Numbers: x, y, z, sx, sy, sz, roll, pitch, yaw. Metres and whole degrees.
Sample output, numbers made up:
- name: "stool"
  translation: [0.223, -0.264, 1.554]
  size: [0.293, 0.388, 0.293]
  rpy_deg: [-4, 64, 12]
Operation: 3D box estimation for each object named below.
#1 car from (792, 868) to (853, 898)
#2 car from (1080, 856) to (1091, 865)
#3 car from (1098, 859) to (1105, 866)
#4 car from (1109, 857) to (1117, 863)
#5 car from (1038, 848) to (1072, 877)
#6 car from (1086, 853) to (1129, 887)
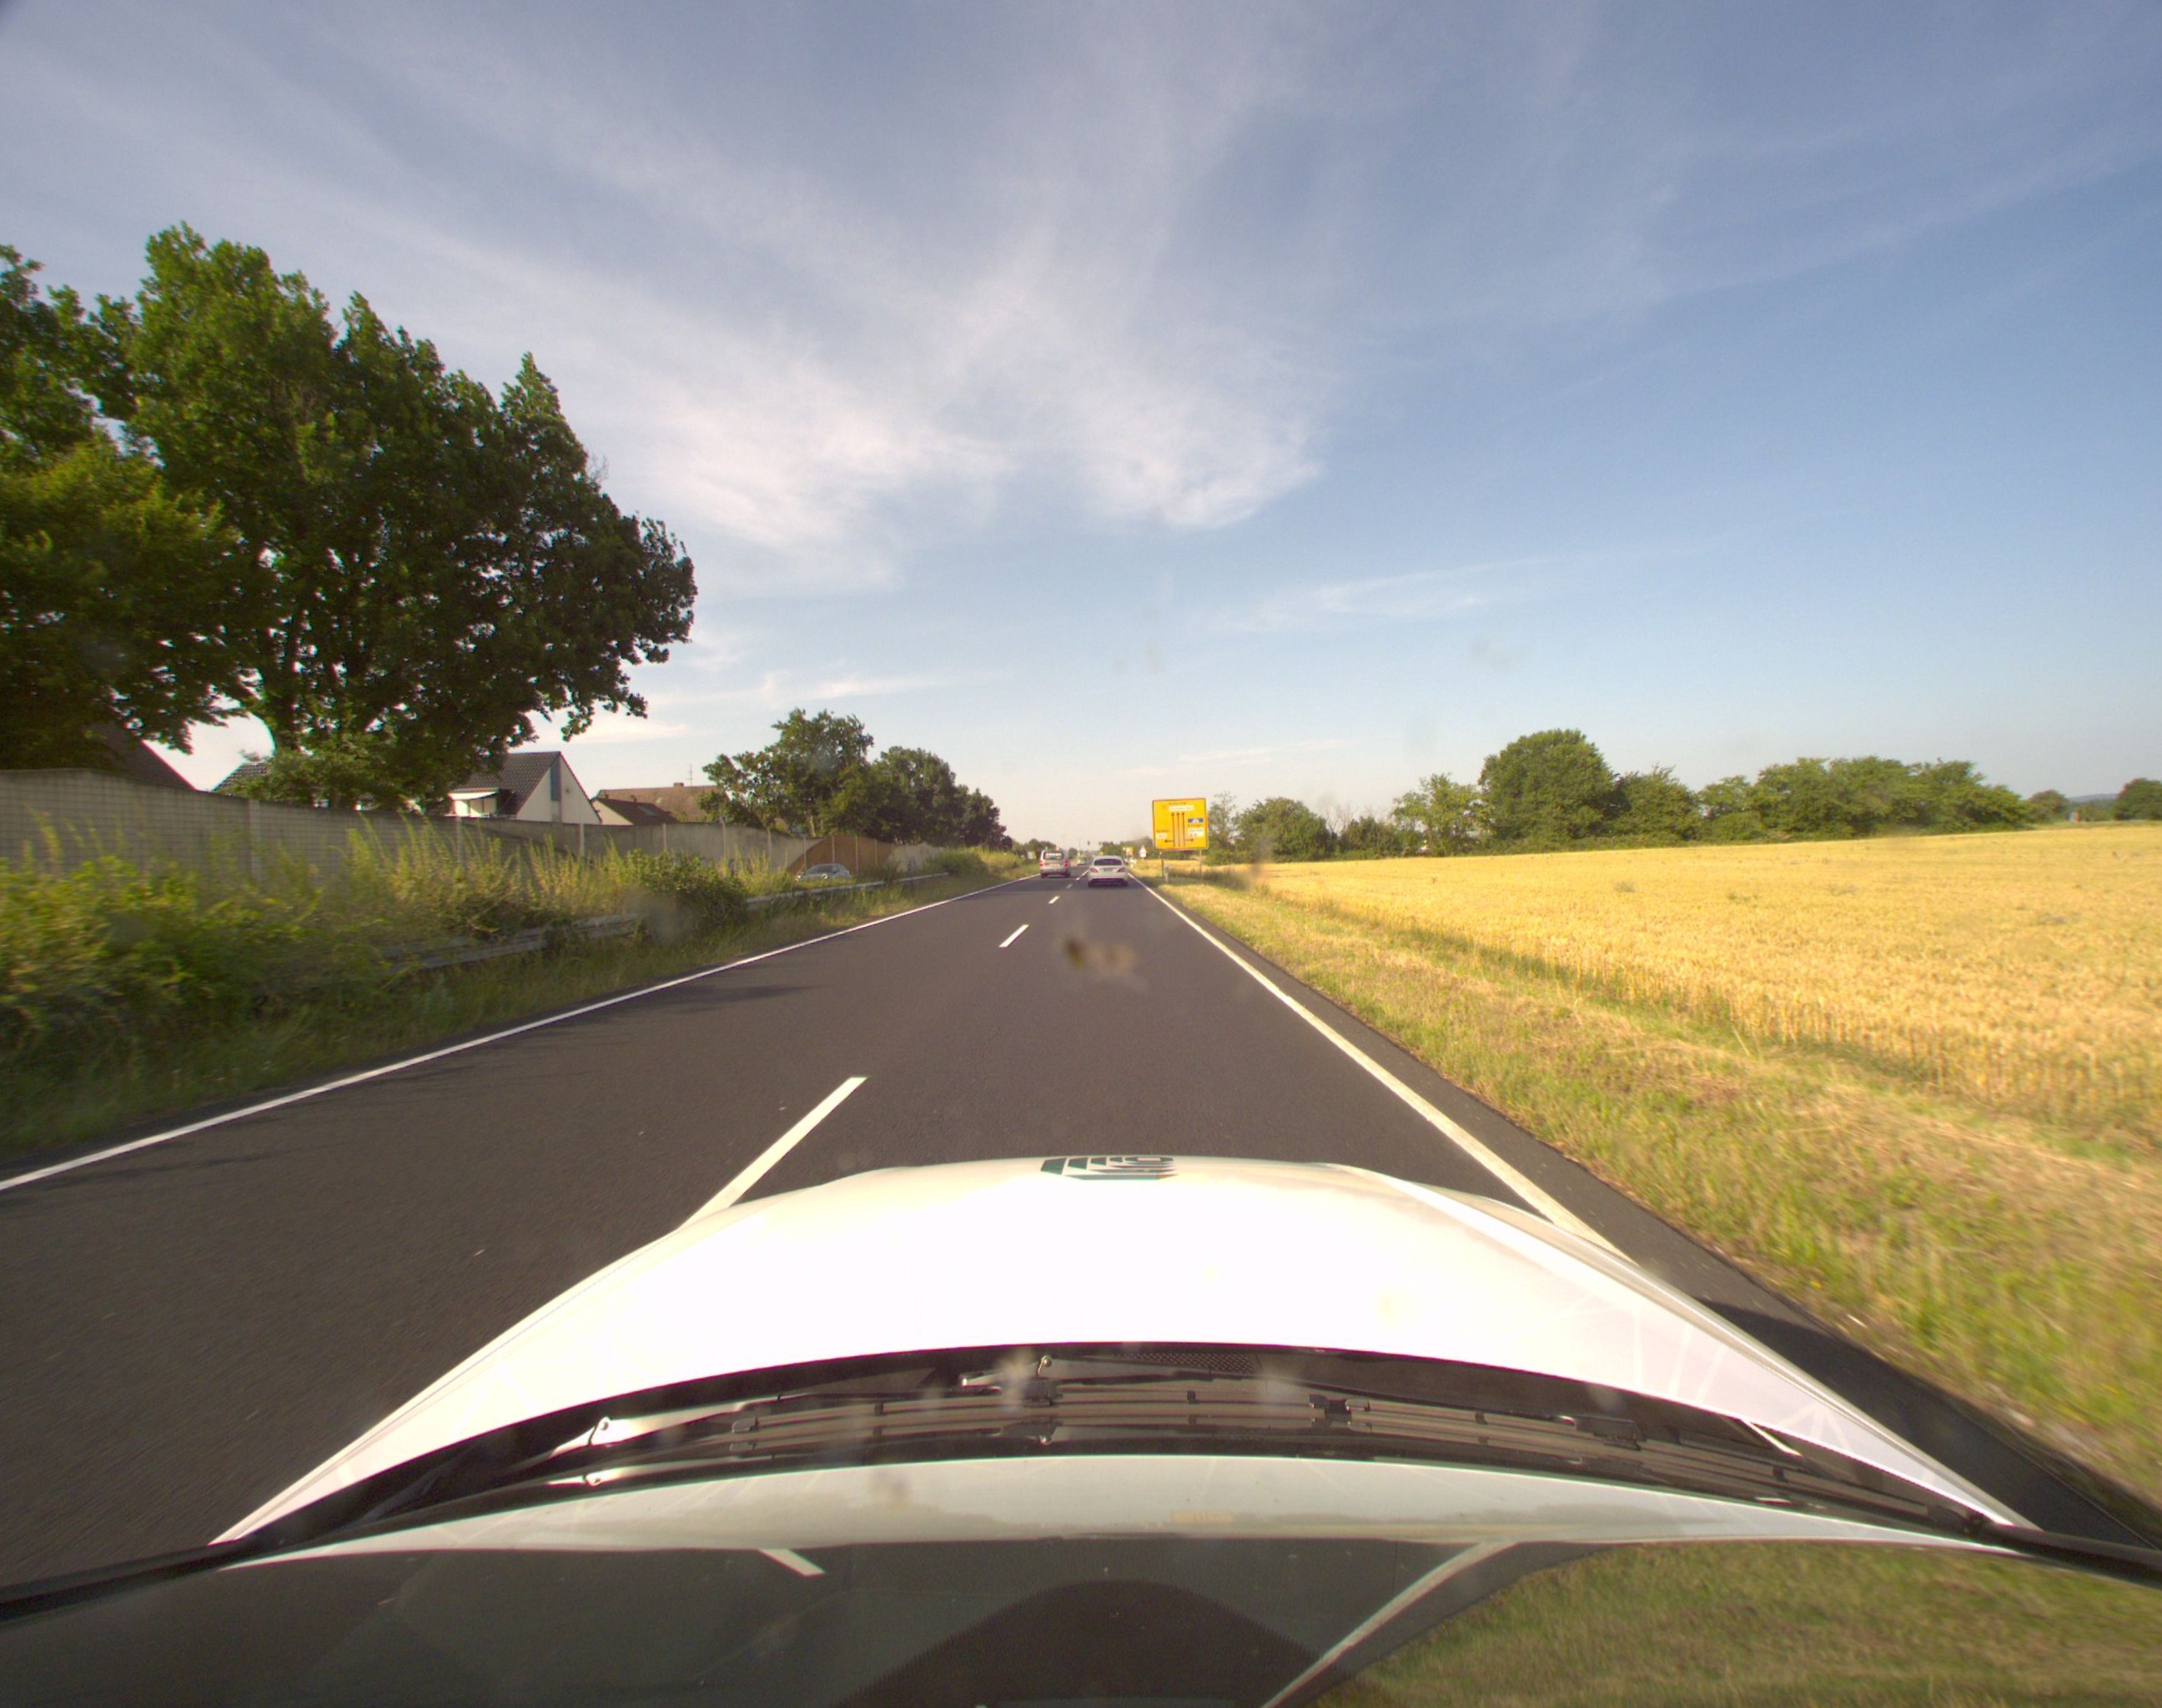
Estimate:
- name: "car"
  translation: [-13.154, 1.440, 41.713]
  size: [1.642, 1.361, 4.290]
  rpy_deg: [1, 0, 1]
- name: "car"
  translation: [0.829, 1.109, 139.377]
  size: [1.711, 1.492, 3.585]
  rpy_deg: [0, 0, 2]
- name: "car"
  translation: [5.507, 2.324, 220.447]
  size: [1.831, 1.684, 4.004]
  rpy_deg: [0, 0, 4]
- name: "car"
  translation: [7.520, 1.387, 189.790]
  size: [1.747, 1.517, 4.001]
  rpy_deg: [-2, 0, 2]
- name: "car"
  translation: [-1.718, 0.537, 55.267]
  size: [2.017, 1.892, 4.960]
  rpy_deg: [0, 0, 2]
- name: "car"
  translation: [1.242, 0.744, 38.949]
  size: [1.888, 1.509, 4.000]
  rpy_deg: [-1, 0, 1]
